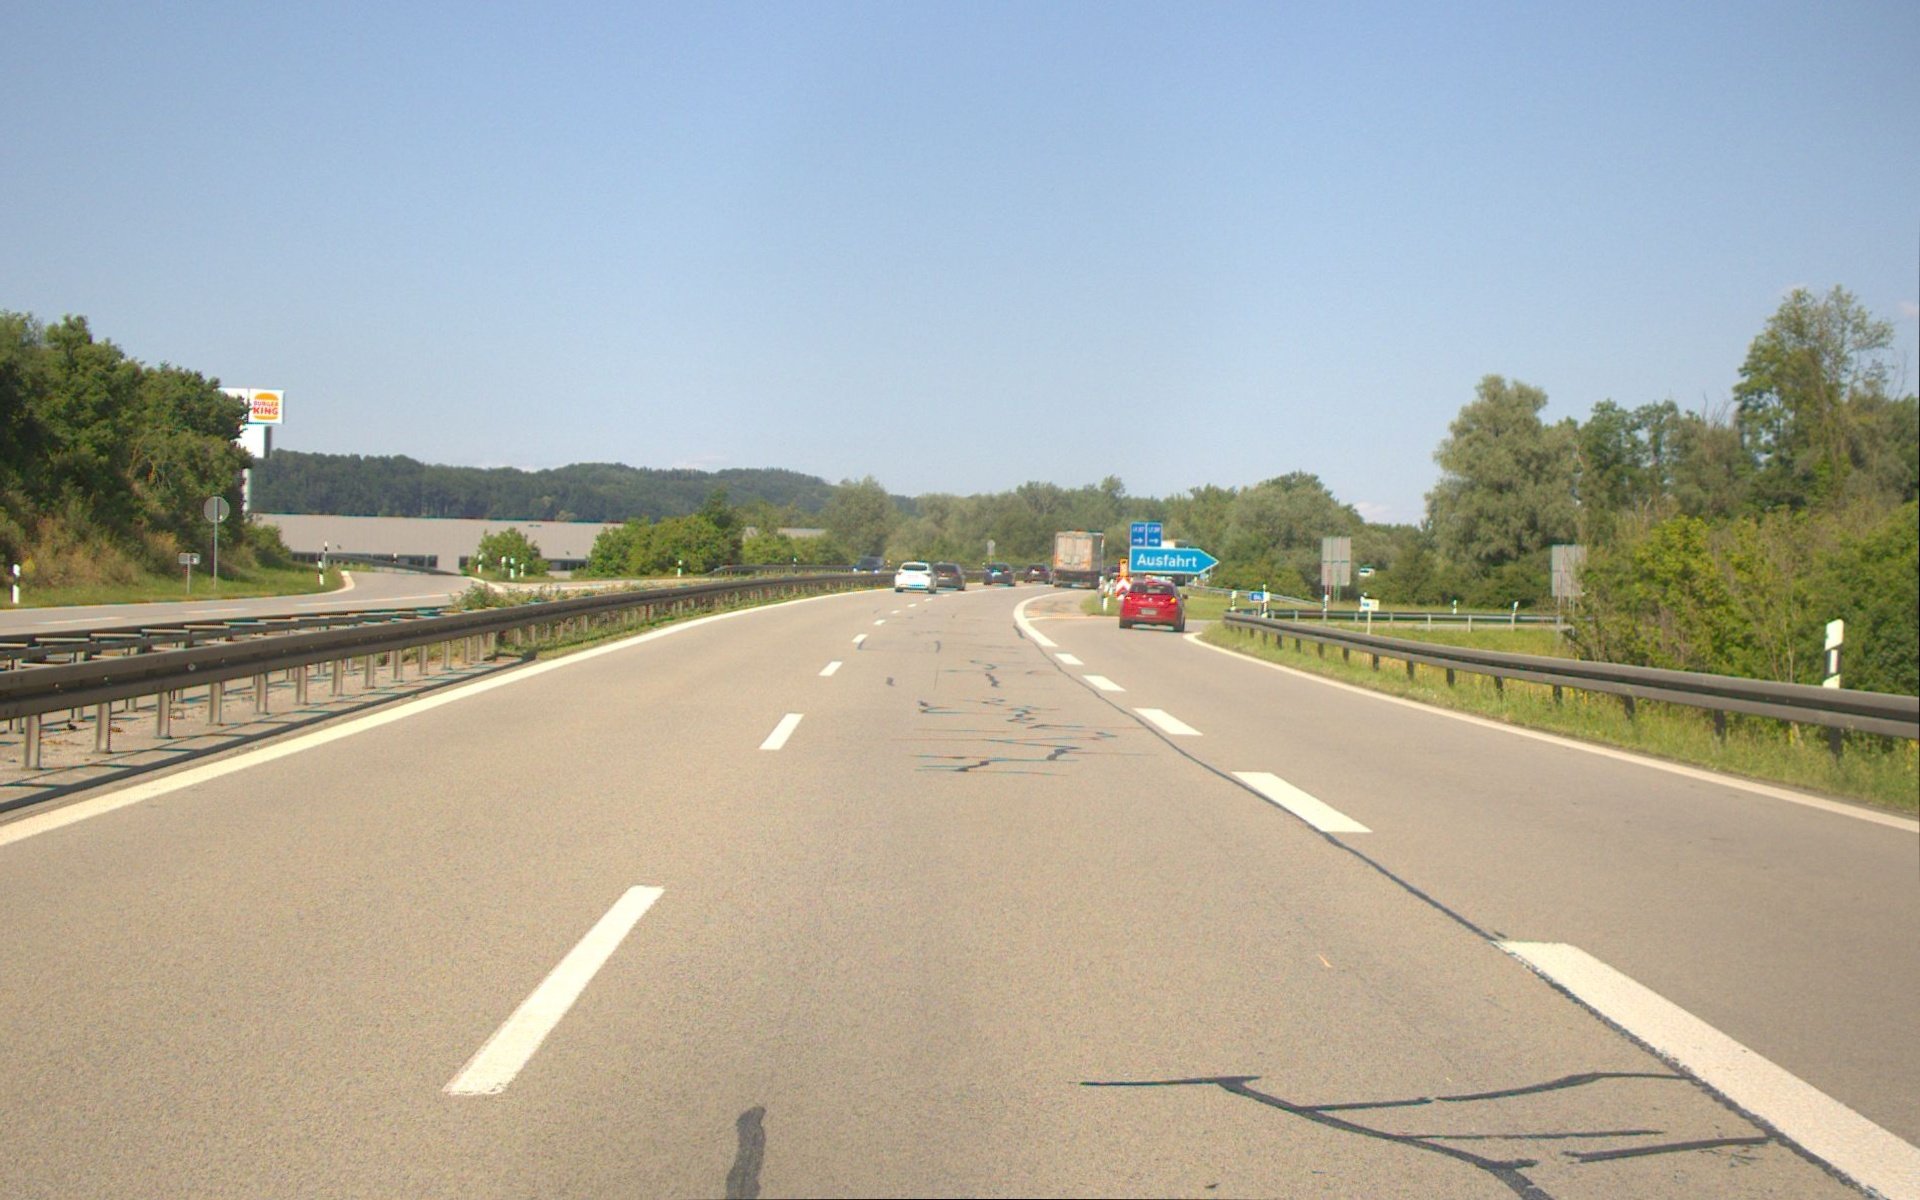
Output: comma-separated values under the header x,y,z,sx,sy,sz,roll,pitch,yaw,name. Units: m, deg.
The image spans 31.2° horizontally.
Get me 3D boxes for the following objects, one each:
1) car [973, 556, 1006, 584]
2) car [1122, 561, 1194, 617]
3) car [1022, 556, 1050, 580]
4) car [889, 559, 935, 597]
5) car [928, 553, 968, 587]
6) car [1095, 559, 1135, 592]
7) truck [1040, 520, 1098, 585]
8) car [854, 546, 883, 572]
x,y,z,sx,sy,sz,roll,pitch,yaw,name
1.917,-1.968,223.059,1.993,1.744,4.000,1,1,0,car
5.701,-0.294,98.593,1.784,1.426,3.999,4,0,6,car
5.594,-2.367,252.819,1.993,1.744,4.000,2,1,2,car
-2.212,-1.020,159.239,2.062,1.619,4.000,0,-2,0,car
-0.643,-1.591,180.244,1.993,1.744,4.000,1,1,0,car
8.707,-1.395,193.862,1.993,1.744,4.000,1,1,0,car
7.589,-3.308,238.108,3.838,4.382,11.470,0,1,2,truck
-6.229,-2.814,234.558,1.879,1.619,4.000,0,-2,0,car
